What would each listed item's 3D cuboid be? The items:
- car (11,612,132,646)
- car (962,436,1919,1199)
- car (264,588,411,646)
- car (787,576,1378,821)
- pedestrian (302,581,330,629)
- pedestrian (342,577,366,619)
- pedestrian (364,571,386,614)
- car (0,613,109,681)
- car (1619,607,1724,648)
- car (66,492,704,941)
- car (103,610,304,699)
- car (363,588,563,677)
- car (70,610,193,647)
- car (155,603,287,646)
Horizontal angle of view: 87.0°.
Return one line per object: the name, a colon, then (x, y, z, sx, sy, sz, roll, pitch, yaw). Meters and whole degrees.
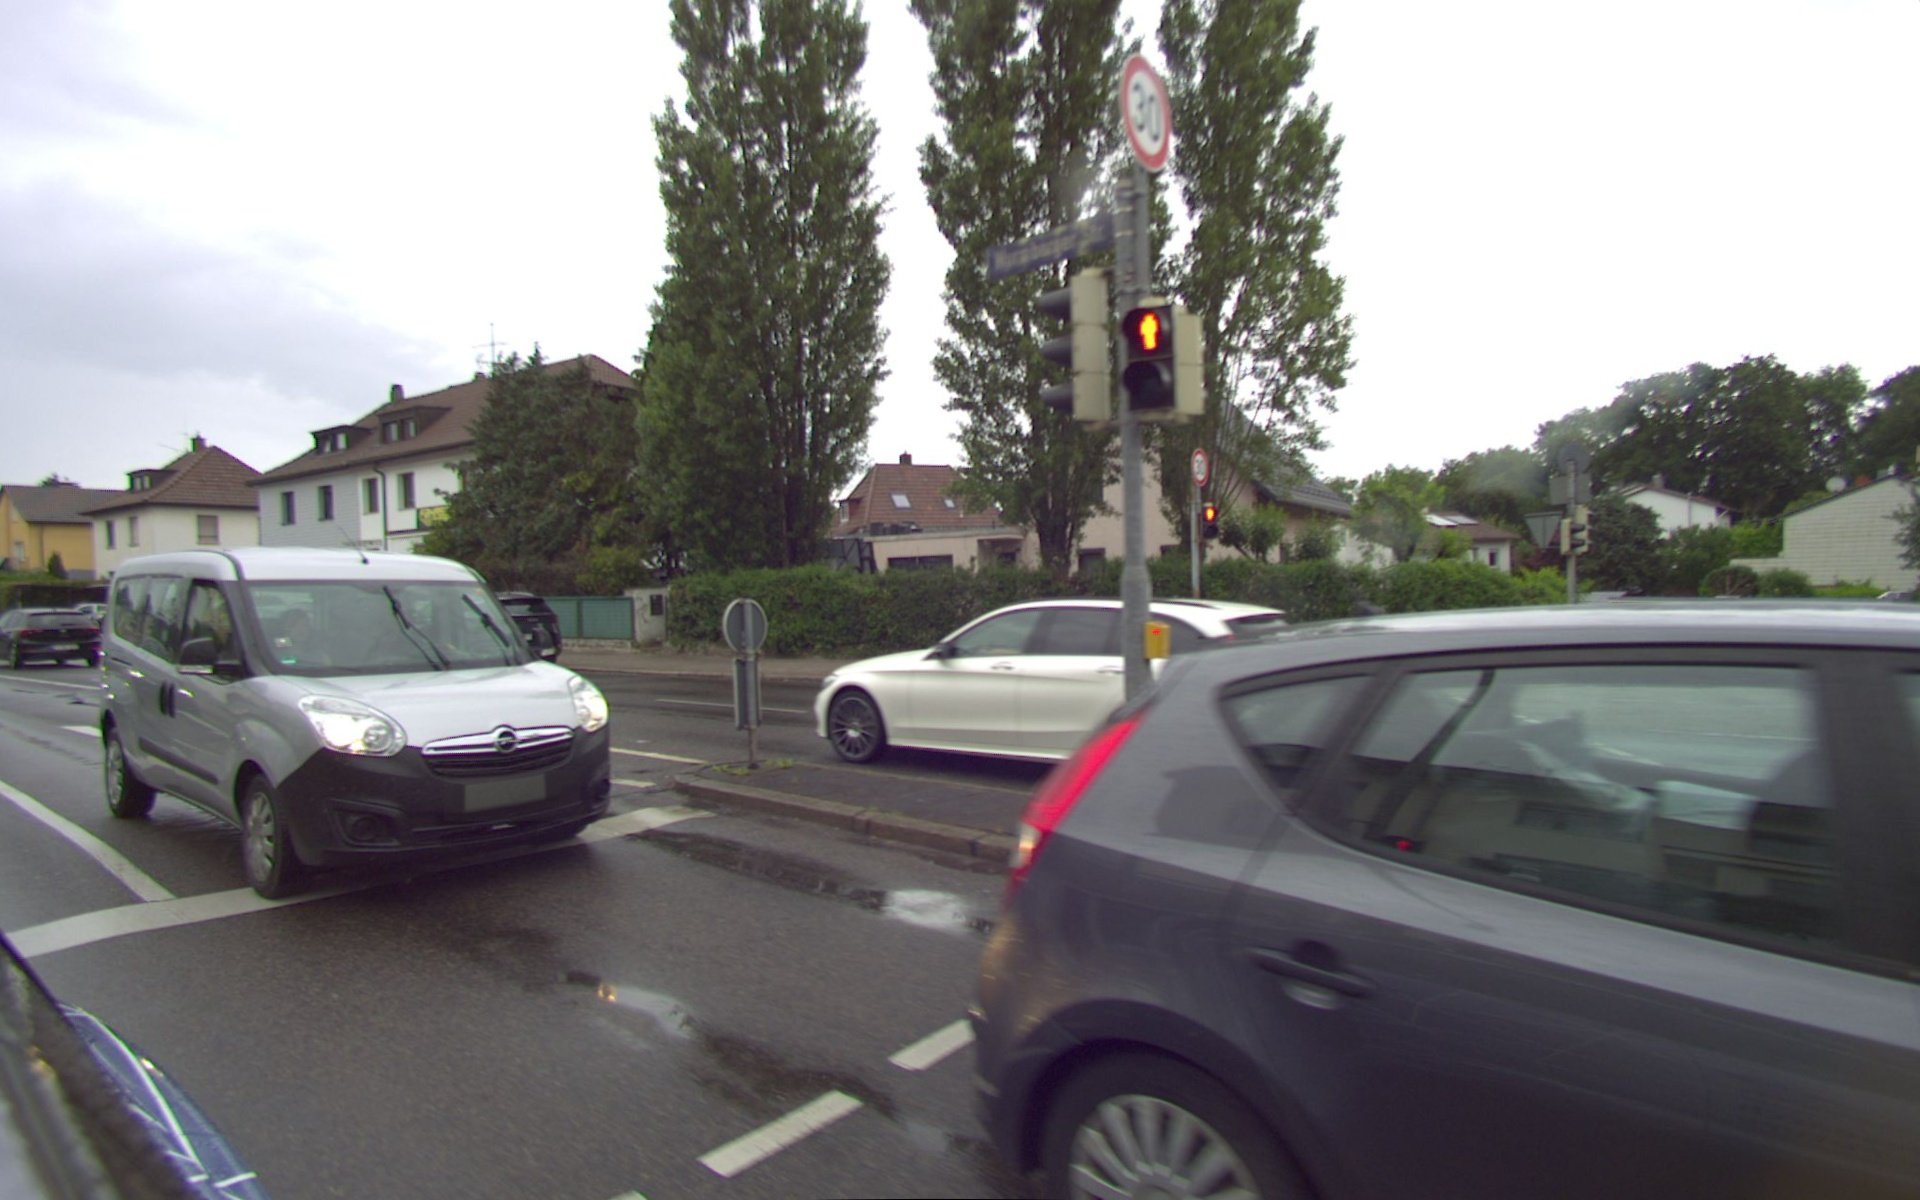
car: (-43.814, 1.478, 50.010, 1.831, 1.495, 4.073, -1, -4, 27)
car: (2.124, 0.556, 1.451, 4.057, 1.498, 1.816, 0, 0, 41)
car: (-22.067, 0.572, 35.988, 1.868, 1.575, 3.954, -2, 4, 35)
car: (0.841, 0.629, 8.635, 4.762, 1.568, 1.819, 0, 0, 37)
pedestrian: (-24.924, 0.189, 39.167, 0.539, 1.801, 0.662, 0, 4, 38)
pedestrian: (-24.733, -0.073, 41.305, 0.574, 1.682, 0.578, -1, 3, 33)
pedestrian: (-23.293, -0.294, 40.298, 0.512, 1.682, 0.511, 0, 4, 40)
car: (-22.910, 1.109, 25.199, 3.992, 1.514, 1.697, 0, 0, 36)
car: (33.088, 1.268, 47.099, 4.023, 1.863, 1.945, 0, -1, -18)
car: (-3.910, 0.512, 6.498, 4.740, 1.885, 1.932, -1, -1, 38)
car: (-14.345, 0.963, 19.146, 3.989, 1.475, 1.838, -1, 0, 34)
car: (-10.446, 0.611, 21.164, 4.588, 1.682, 1.789, 0, 0, 35)
car: (-38.588, 1.289, 47.215, 1.880, 1.430, 4.065, -1, 2, 34)
car: (-30.278, 0.960, 41.546, 1.880, 1.430, 3.954, -1, 3, 34)
